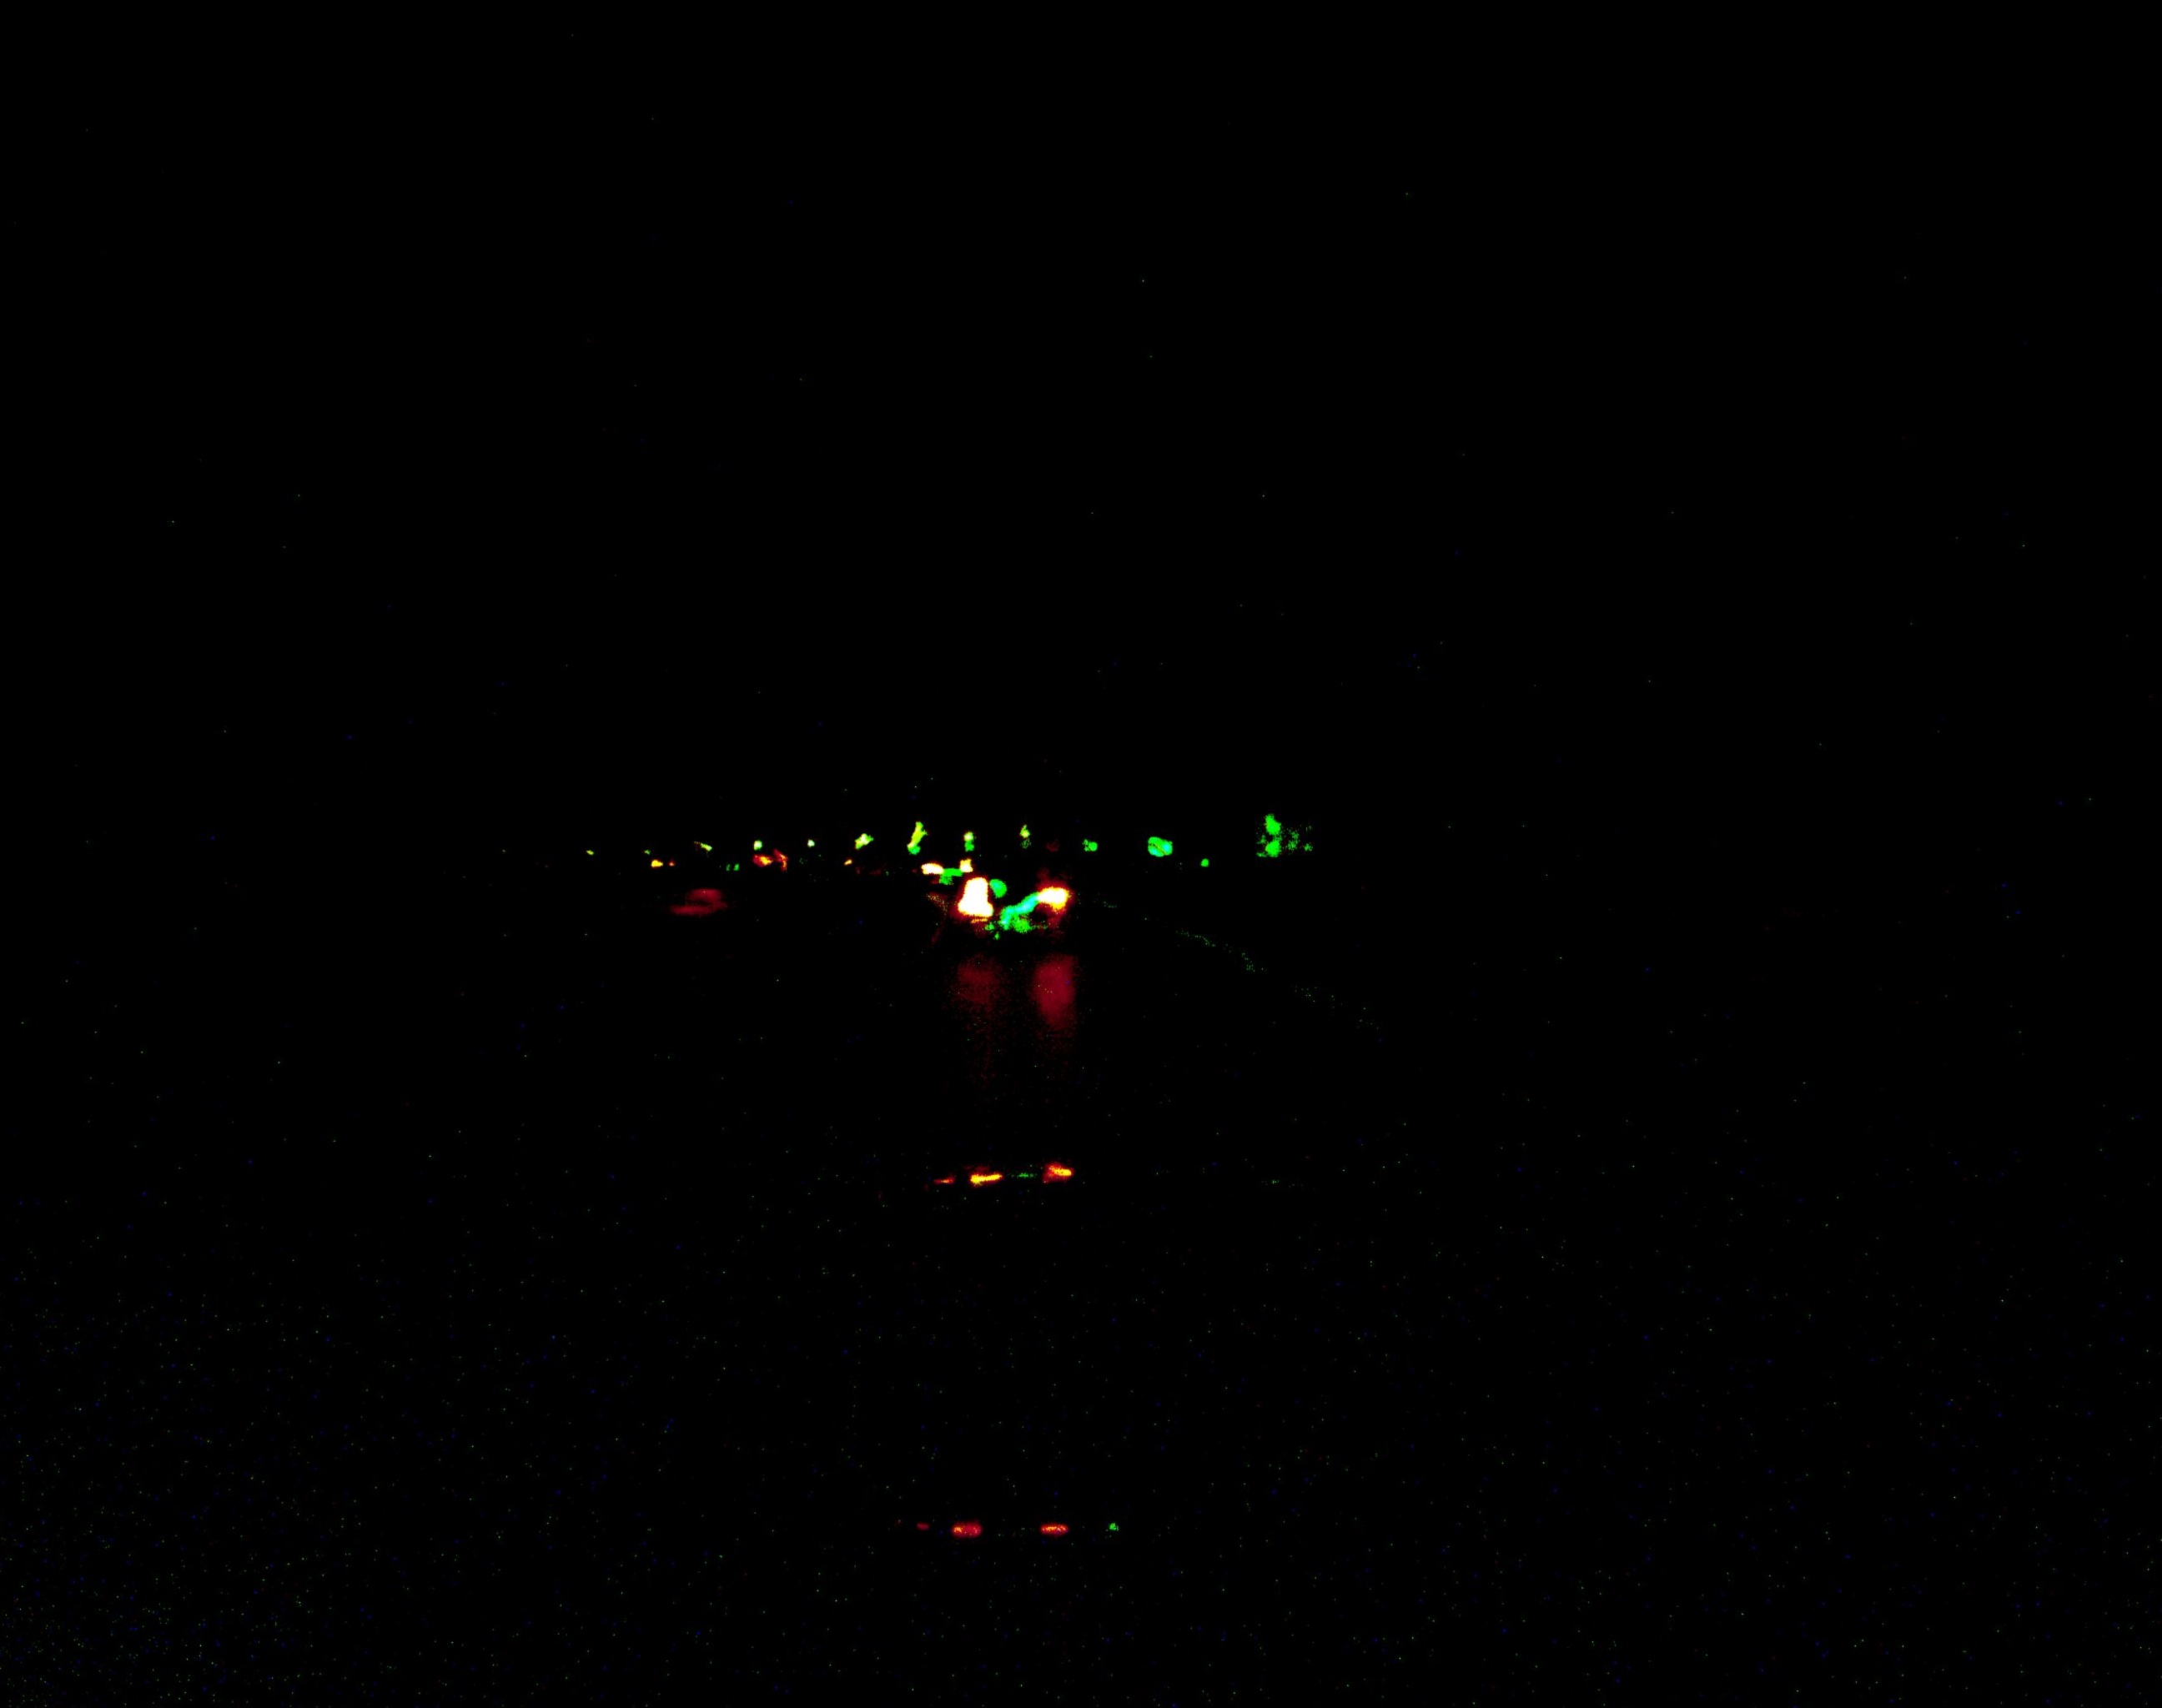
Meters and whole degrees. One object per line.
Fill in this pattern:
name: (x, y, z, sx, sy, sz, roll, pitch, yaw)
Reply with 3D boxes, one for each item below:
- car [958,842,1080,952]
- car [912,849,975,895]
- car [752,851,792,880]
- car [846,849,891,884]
car: (-1.165, 0.661, 14.731, 1.858, 1.647, 4.060, -2, 0, -6)
car: (-5.744, 0.694, 33.614, 1.901, 1.720, 4.019, -2, 1, -19)
car: (-23.015, 0.831, 60.586, 1.909, 1.997, 4.004, -3, 1, -32)
car: (-13.259, 0.735, 50.597, 1.905, 2.040, 4.010, -1, 1, -27)
